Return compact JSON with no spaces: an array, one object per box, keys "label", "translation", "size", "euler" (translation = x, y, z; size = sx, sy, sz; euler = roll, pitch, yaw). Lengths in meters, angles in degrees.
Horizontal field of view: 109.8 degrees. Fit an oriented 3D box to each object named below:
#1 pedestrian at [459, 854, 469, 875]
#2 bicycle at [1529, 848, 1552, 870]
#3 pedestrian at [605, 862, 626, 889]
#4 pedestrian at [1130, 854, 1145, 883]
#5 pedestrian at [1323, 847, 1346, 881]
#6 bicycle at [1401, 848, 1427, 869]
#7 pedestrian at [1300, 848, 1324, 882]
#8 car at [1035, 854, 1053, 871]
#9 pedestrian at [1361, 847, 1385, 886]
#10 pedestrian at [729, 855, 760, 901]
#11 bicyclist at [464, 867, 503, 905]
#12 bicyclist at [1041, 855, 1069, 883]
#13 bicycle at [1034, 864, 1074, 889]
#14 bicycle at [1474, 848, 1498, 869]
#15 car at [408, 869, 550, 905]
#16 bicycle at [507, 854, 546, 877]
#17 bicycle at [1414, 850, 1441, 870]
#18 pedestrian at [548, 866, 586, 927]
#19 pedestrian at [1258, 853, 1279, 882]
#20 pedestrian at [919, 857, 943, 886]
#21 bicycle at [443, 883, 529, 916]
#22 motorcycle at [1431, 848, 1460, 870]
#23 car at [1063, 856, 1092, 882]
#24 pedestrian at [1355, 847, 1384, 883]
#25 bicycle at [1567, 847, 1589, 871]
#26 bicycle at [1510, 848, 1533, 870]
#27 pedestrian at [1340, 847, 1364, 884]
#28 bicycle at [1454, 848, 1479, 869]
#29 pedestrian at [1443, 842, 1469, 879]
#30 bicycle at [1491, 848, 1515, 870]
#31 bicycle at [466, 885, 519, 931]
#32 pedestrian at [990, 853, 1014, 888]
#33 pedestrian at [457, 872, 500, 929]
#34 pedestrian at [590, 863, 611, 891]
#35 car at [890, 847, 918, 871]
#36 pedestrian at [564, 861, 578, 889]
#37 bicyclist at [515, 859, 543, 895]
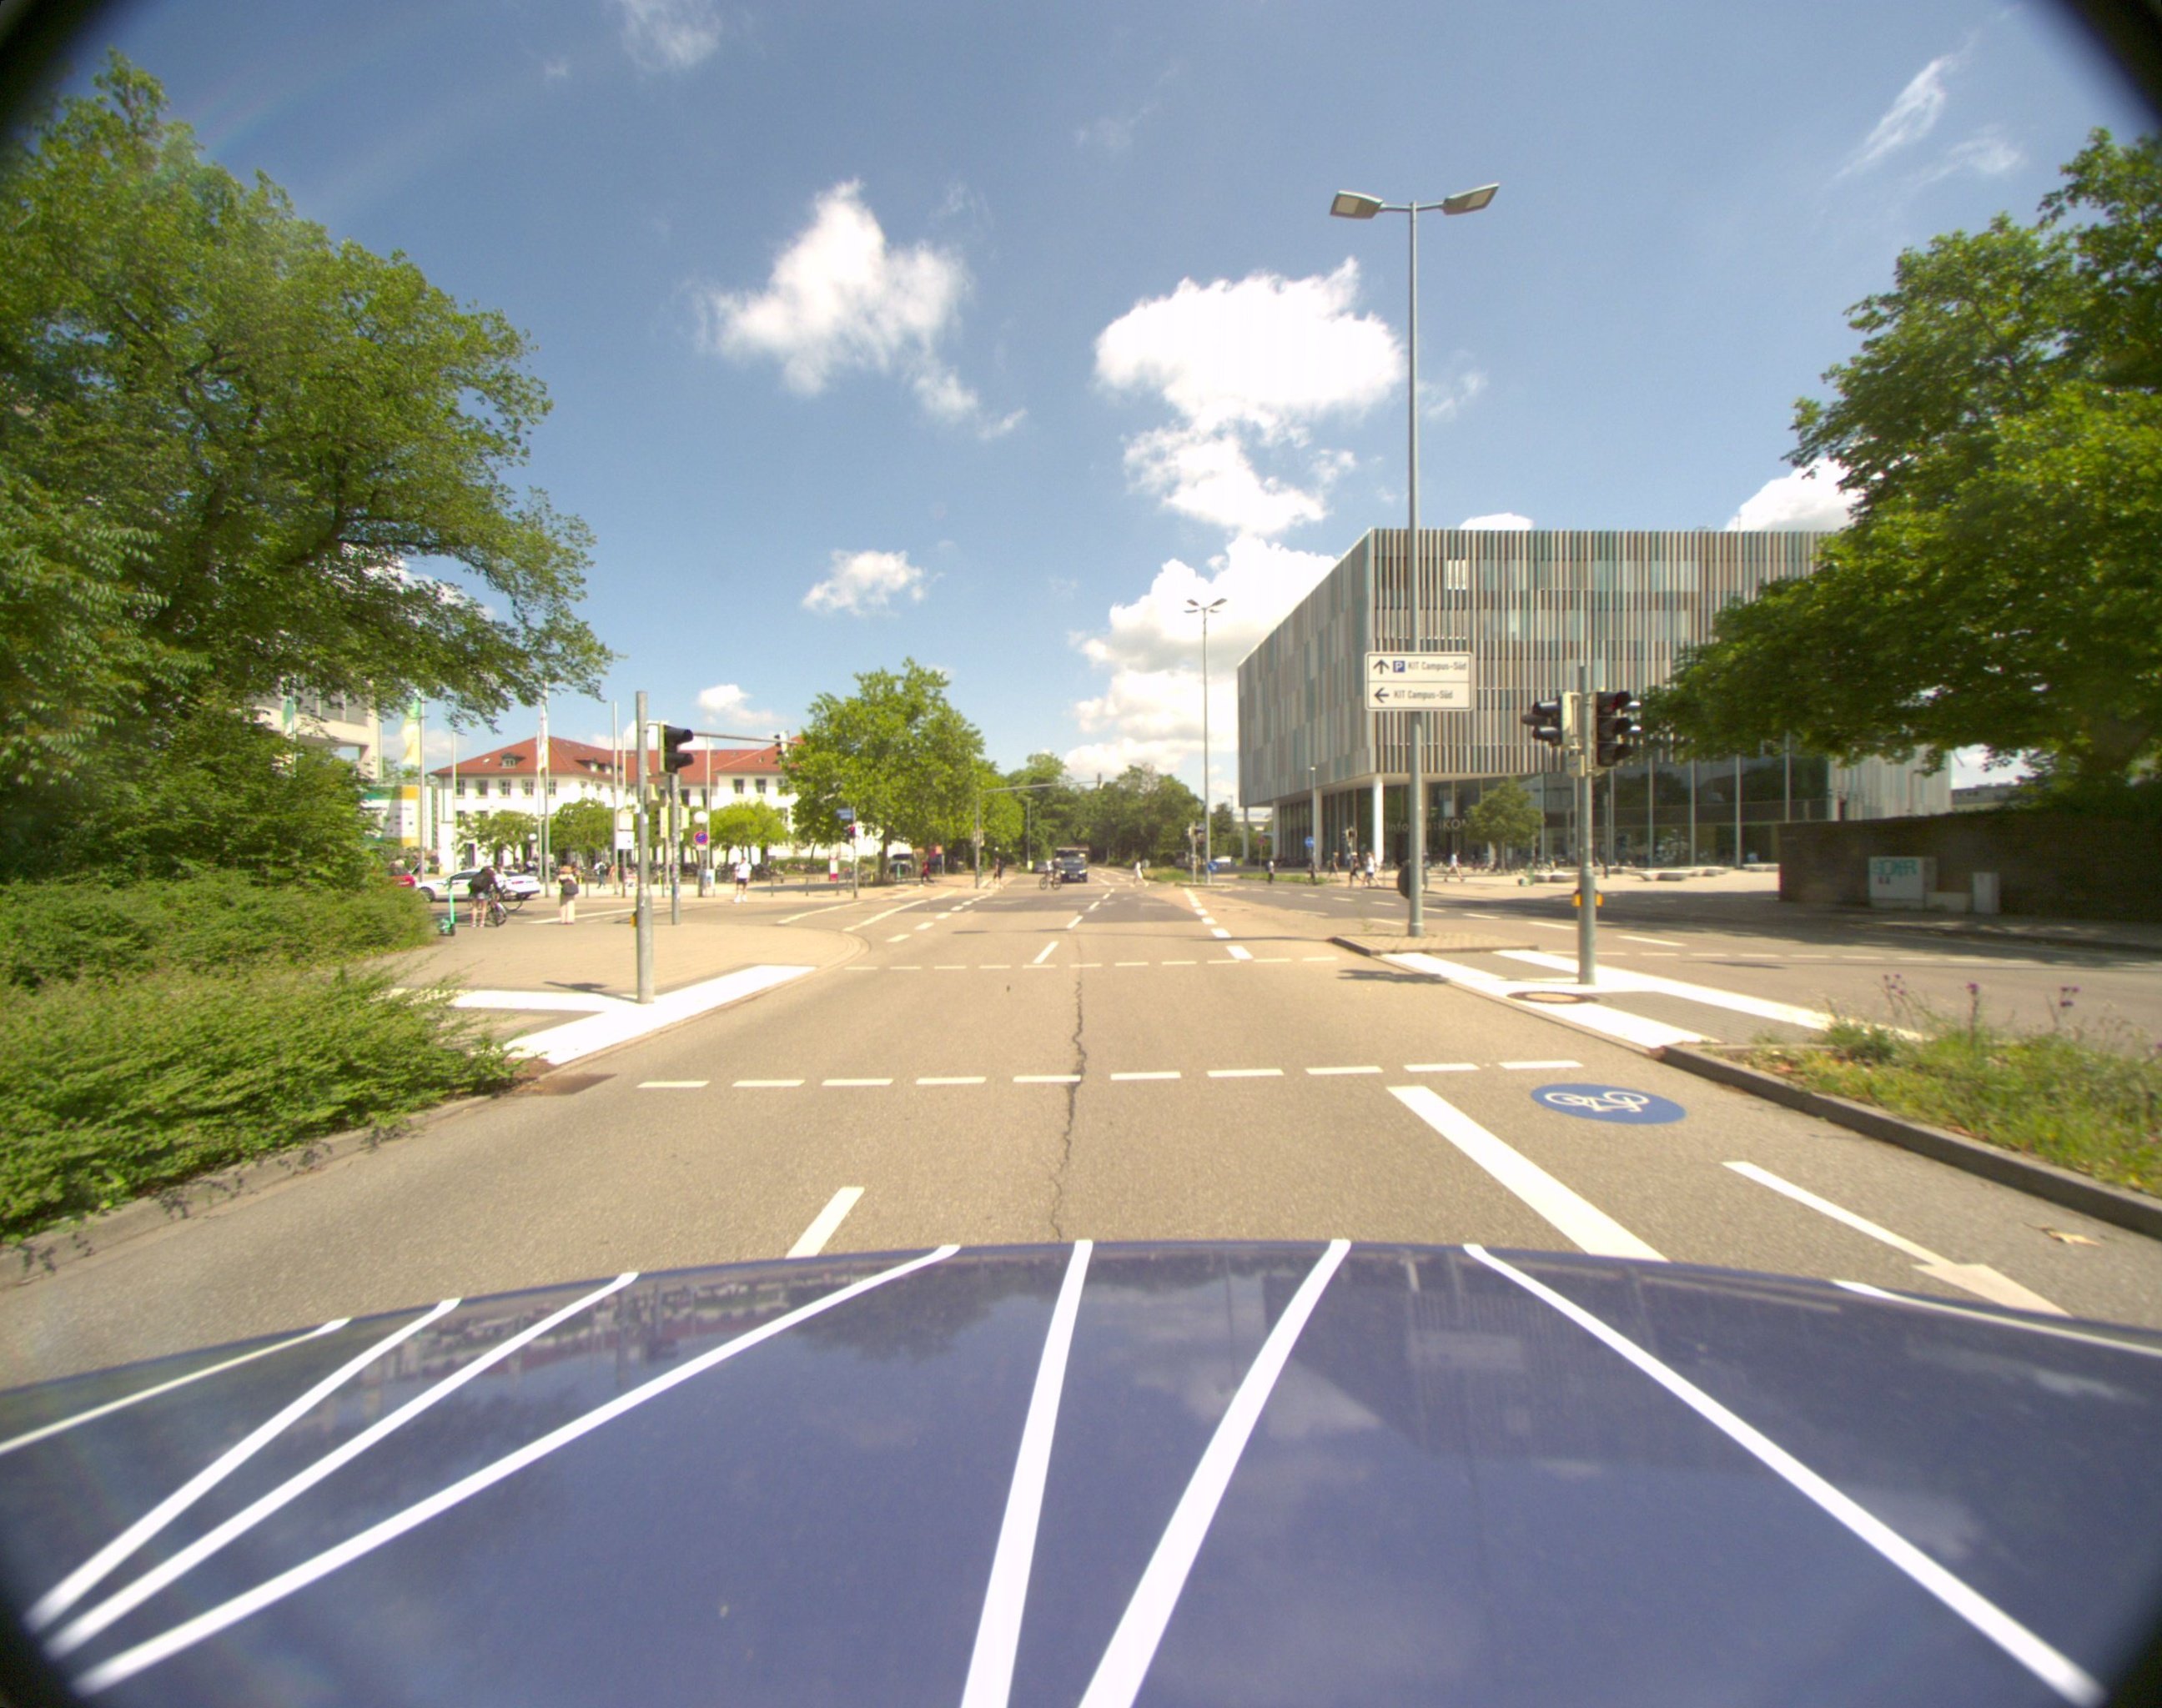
[{"label":"pedestrian","translation":[-46.292,0.804,56.999],"size":[0.560,1.527,0.474],"euler":[0,2,38]},{"label":"bicycle","translation":[32.243,0.334,53.261],"size":[0.997,1.543,3.422],"euler":[0,1,38]},{"label":"pedestrian","translation":[-28.049,1.301,45.785],"size":[0.833,1.613,0.686],"euler":[0,2,25]},{"label":"pedestrian","translation":[3.027,0.777,40.511],"size":[0.591,1.495,0.416],"euler":[3,0,-17]},{"label":"pedestrian","translation":[14.875,0.574,44.625],"size":[0.879,1.915,0.970],"euler":[-2,1,-19]},{"label":"bicycle","translation":[26.285,0.354,59.998],"size":[0.808,1.634,3.422],"euler":[0,1,42]},{"label":"pedestrian","translation":[13.372,0.604,43.943],"size":[0.880,1.915,0.970],"euler":[-2,1,-21]},{"label":"car","translation":[-4.025,0.921,83.084],"size":[1.913,1.772,3.999],"euler":[-1,0,-3]},{"label":"pedestrian","translation":[14.828,0.627,38.660],"size":[1.107,1.915,0.973],"euler":[-1,1,20]},{"label":"pedestrian","translation":[-14.242,1.005,32.165],"size":[0.878,1.862,0.971],"euler":[-1,1,-3]},{"label":"bicyclist","translation":[-19.985,1.050,25.424],"size":[0.834,1.219,0.618],"euler":[-1,1,-16]},{"label":"bicyclist","translation":[-1.365,0.789,40.103],"size":[1.074,1.436,0.974],"euler":[0,1,43]},{"label":"bicycle","translation":[-1.443,1.162,40.193],"size":[2.159,1.244,0.887],"euler":[-1,1,45]},{"label":"bicycle","translation":[29.997,0.313,56.273],"size":[0.997,1.543,3.422],"euler":[0,1,38]},{"label":"car","translation":[-25.523,1.375,32.330],"size":[4.440,1.389,1.833],"euler":[-1,0,-4]},{"label":"bicycle","translation":[-28.621,0.602,39.207],"size":[2.049,1.128,0.691],"euler":[-1,1,25]},{"label":"bicycle","translation":[27.045,0.439,59.259],"size":[2.693,1.485,0.930],"euler":[-2,1,-44]},{"label":"pedestrian","translation":[-14.047,1.136,20.765],"size":[0.633,1.617,0.647],"euler":[0,1,36]},{"label":"pedestrian","translation":[10.910,0.766,44.316],"size":[0.879,1.619,0.971],"euler":[-1,1,-7]},{"label":"pedestrian","translation":[-8.298,0.957,41.914],"size":[1.065,1.588,0.970],"euler":[-2,1,-26]},{"label":"bicycle","translation":[-19.907,1.505,25.456],"size":[2.165,0.993,0.646],"euler":[-1,1,-16]},{"label":"motorcycle","translation":[28.001,0.334,58.296],"size":[3.305,1.630,0.969],"euler":[-1,1,-45]},{"label":"car","translation":[-0.244,0.961,50.955],"size":[1.846,1.593,3.999],"euler":[-1,0,-1]},{"label":"pedestrian","translation":[15.565,0.581,41.047],"size":[1.109,1.915,0.971],"euler":[-1,1,-9]},{"label":"bicycle","translation":[33.758,0.340,51.600],"size":[0.997,1.543,3.422],"euler":[0,1,38]},{"label":"bicycle","translation":[31.581,0.324,54.453],"size":[0.997,1.543,3.422],"euler":[0,1,38]},{"label":"pedestrian","translation":[14.286,0.613,40.049],"size":[1.107,1.915,0.973],"euler":[-1,1,16]},{"label":"bicycle","translation":[29.110,0.307,57.320],"size":[1.049,1.543,3.422],"euler":[0,1,38]},{"label":"pedestrian","translation":[20.059,0.349,40.671],"size":[1.107,1.915,0.973],"euler":[-1,1,20]},{"label":"bicycle","translation":[30.765,0.317,55.385],"size":[0.997,1.543,3.422],"euler":[0,1,38]},{"label":"bicycle","translation":[-15.253,1.383,19.687],"size":[1.659,1.136,0.673],"euler":[-2,-2,38]},{"label":"pedestrian","translation":[-4.463,0.929,43.143],"size":[1.030,1.915,0.973],"euler":[-1,1,17]},{"label":"pedestrian","translation":[-15.361,1.166,19.373],"size":[0.786,1.408,0.657],"euler":[0,-1,36]},{"label":"pedestrian","translation":[-28.357,1.325,44.833],"size":[0.833,1.613,0.686],"euler":[0,2,27]},{"label":"car","translation":[-15.782,0.433,68.051],"size":[2.000,2.043,4.226],"euler":[-1,0,-7]},{"label":"pedestrian","translation":[-29.158,1.201,43.418],"size":[0.434,1.581,0.540],"euler":[0,1,37]},{"label":"bicyclist","translation":[-28.415,1.165,39.107],"size":[1.085,1.843,0.686],"euler":[0,2,25]}]
